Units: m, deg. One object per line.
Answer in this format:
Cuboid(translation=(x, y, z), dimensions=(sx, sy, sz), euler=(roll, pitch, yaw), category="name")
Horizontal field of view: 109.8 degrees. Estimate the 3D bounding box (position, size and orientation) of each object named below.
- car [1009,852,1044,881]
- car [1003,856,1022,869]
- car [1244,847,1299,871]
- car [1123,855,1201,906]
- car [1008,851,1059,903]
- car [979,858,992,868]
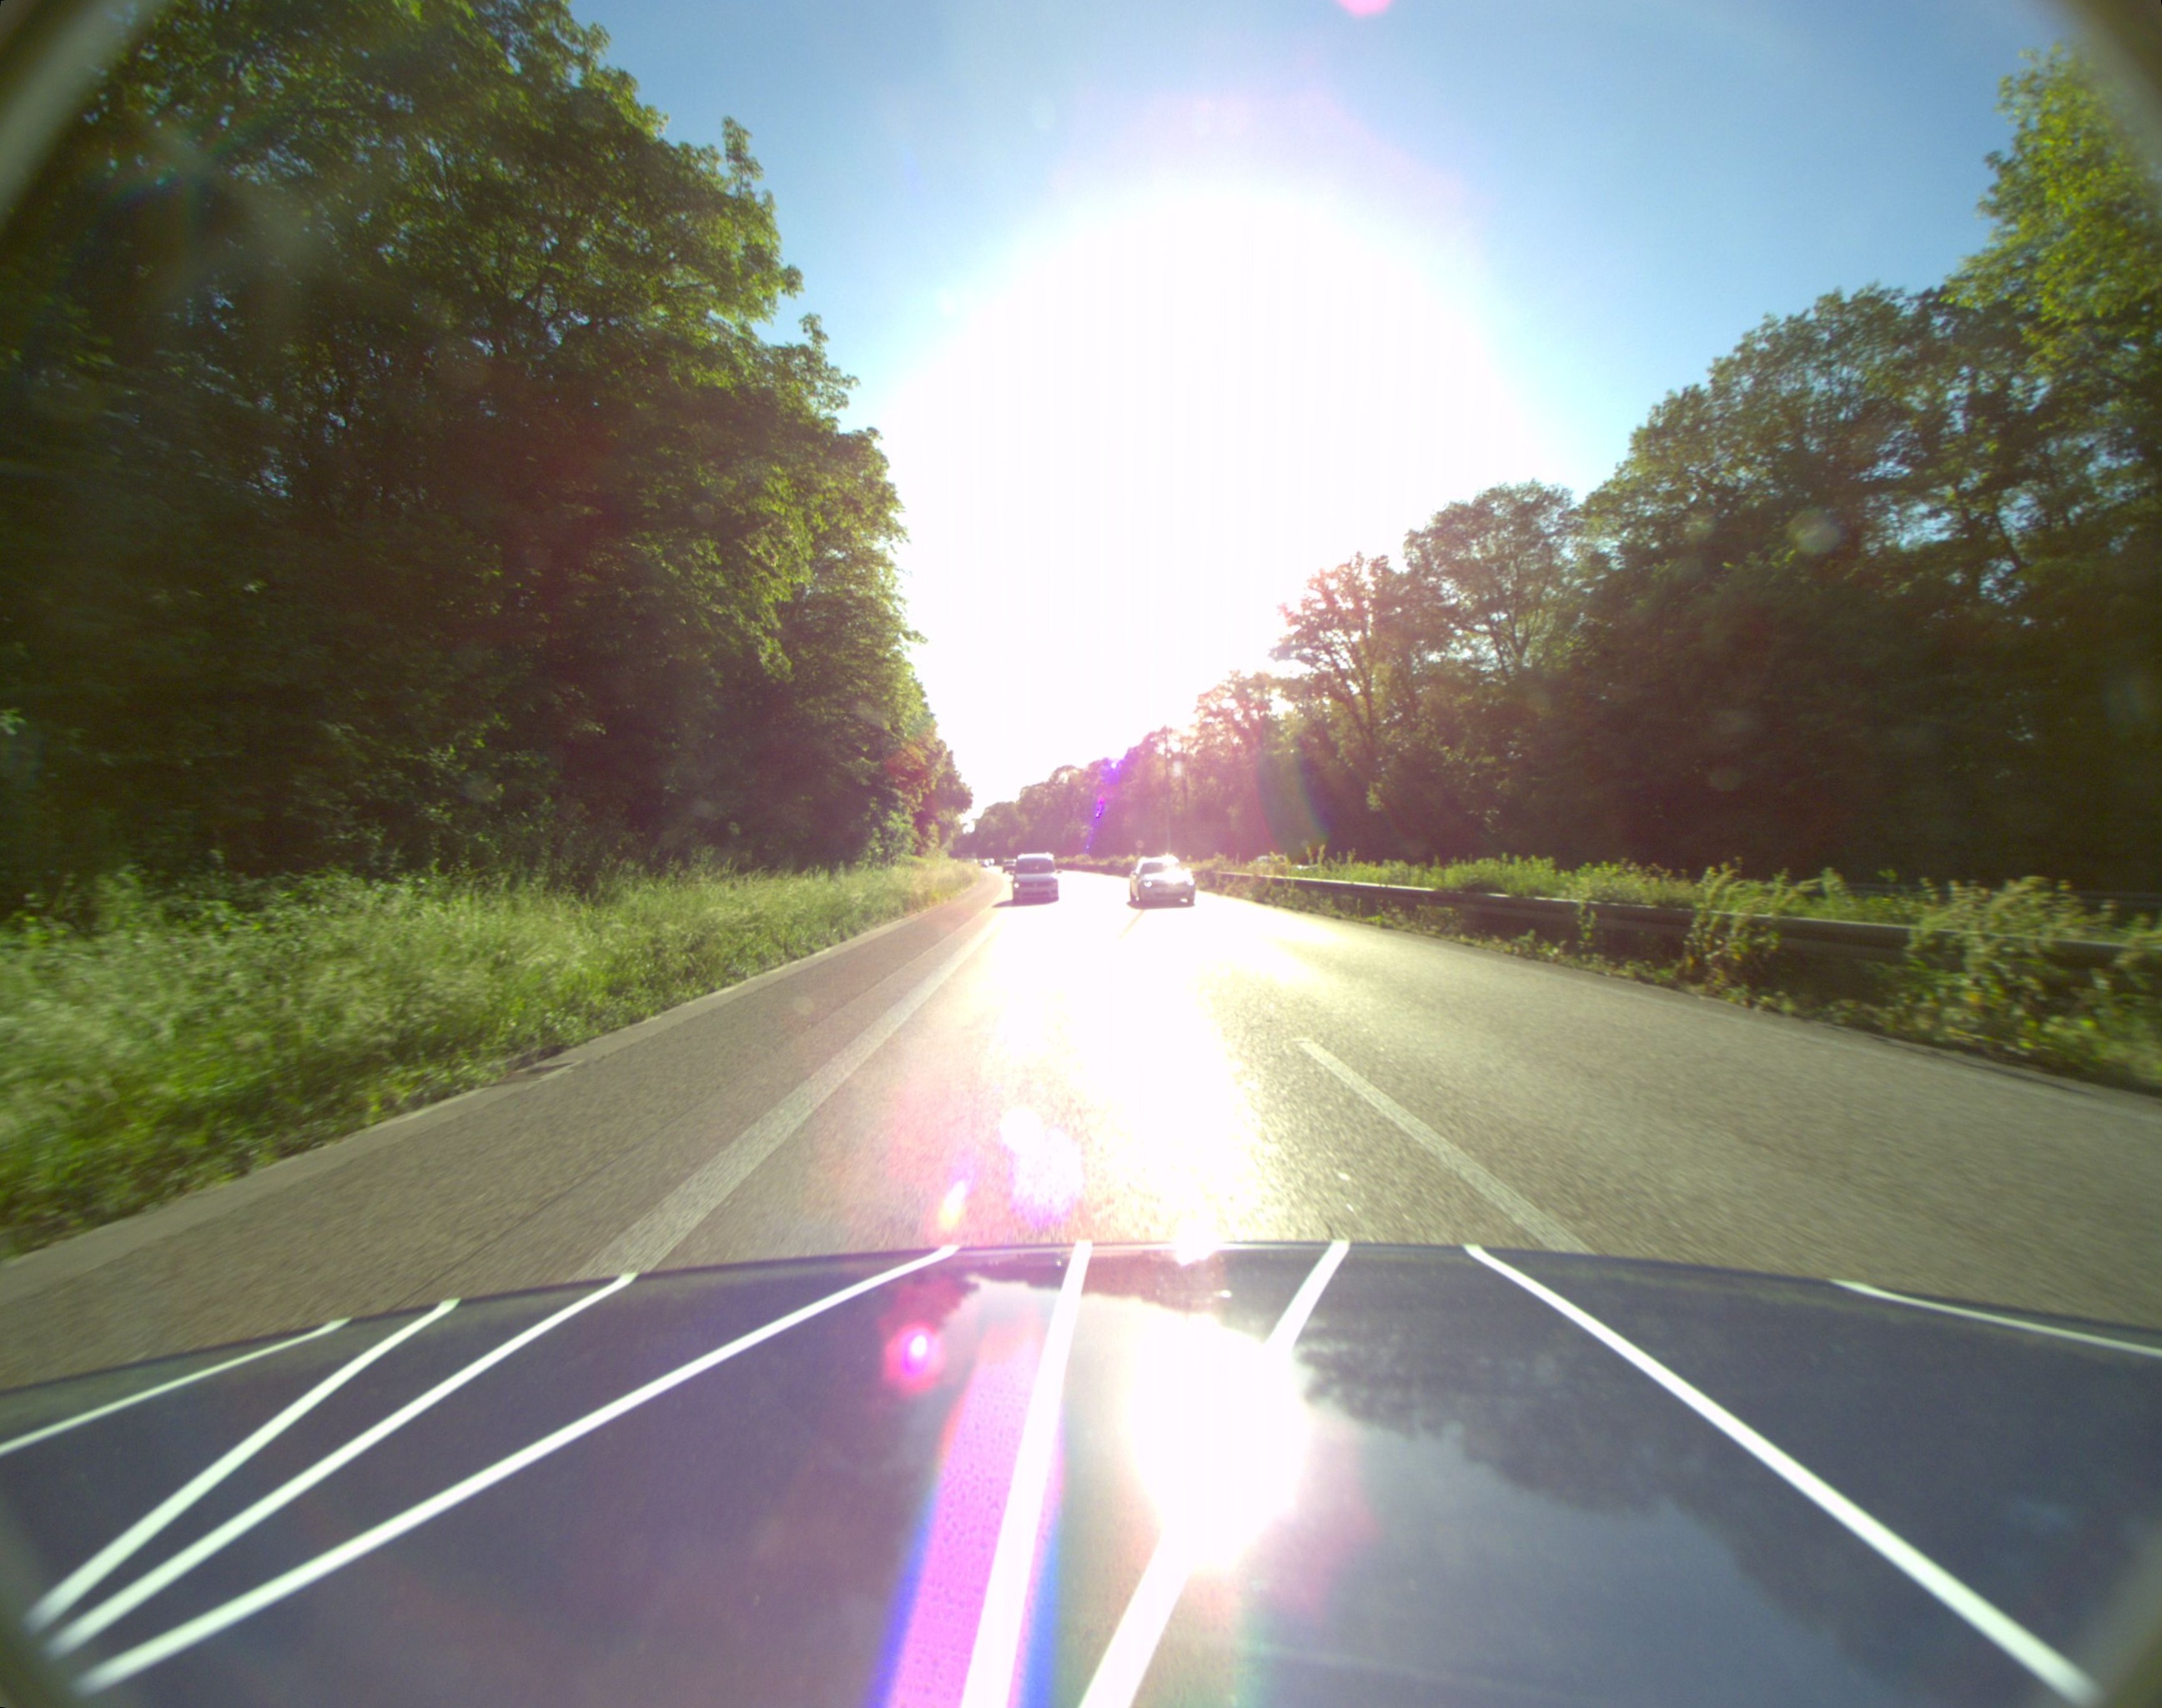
Cuboid(translation=(-4.252, 0.903, 58.405), dimensions=(2.258, 1.843, 5.136), euler=(-3, 3, -8), category="car")
Cuboid(translation=(-8.365, 1.057, 92.820), dimensions=(1.936, 1.499, 5.082), euler=(-1, 0, -9), category="car")
Cuboid(translation=(13.039, 0.317, 52.366), dimensions=(1.999, 1.477, 5.236), euler=(-2, 1, -6), category="car")
Cuboid(translation=(2.642, 0.839, 26.098), dimensions=(1.934, 1.499, 5.598), euler=(-2, 0, -1), category="car")
Cuboid(translation=(-1.844, 0.833, 30.124), dimensions=(1.800, 1.796, 4.831), euler=(-2, 1, -3), category="car")
Cuboid(translation=(-18.199, 1.718, 144.517), dimensions=(1.936, 1.500, 5.079), euler=(-3, 3, -11), category="car")
